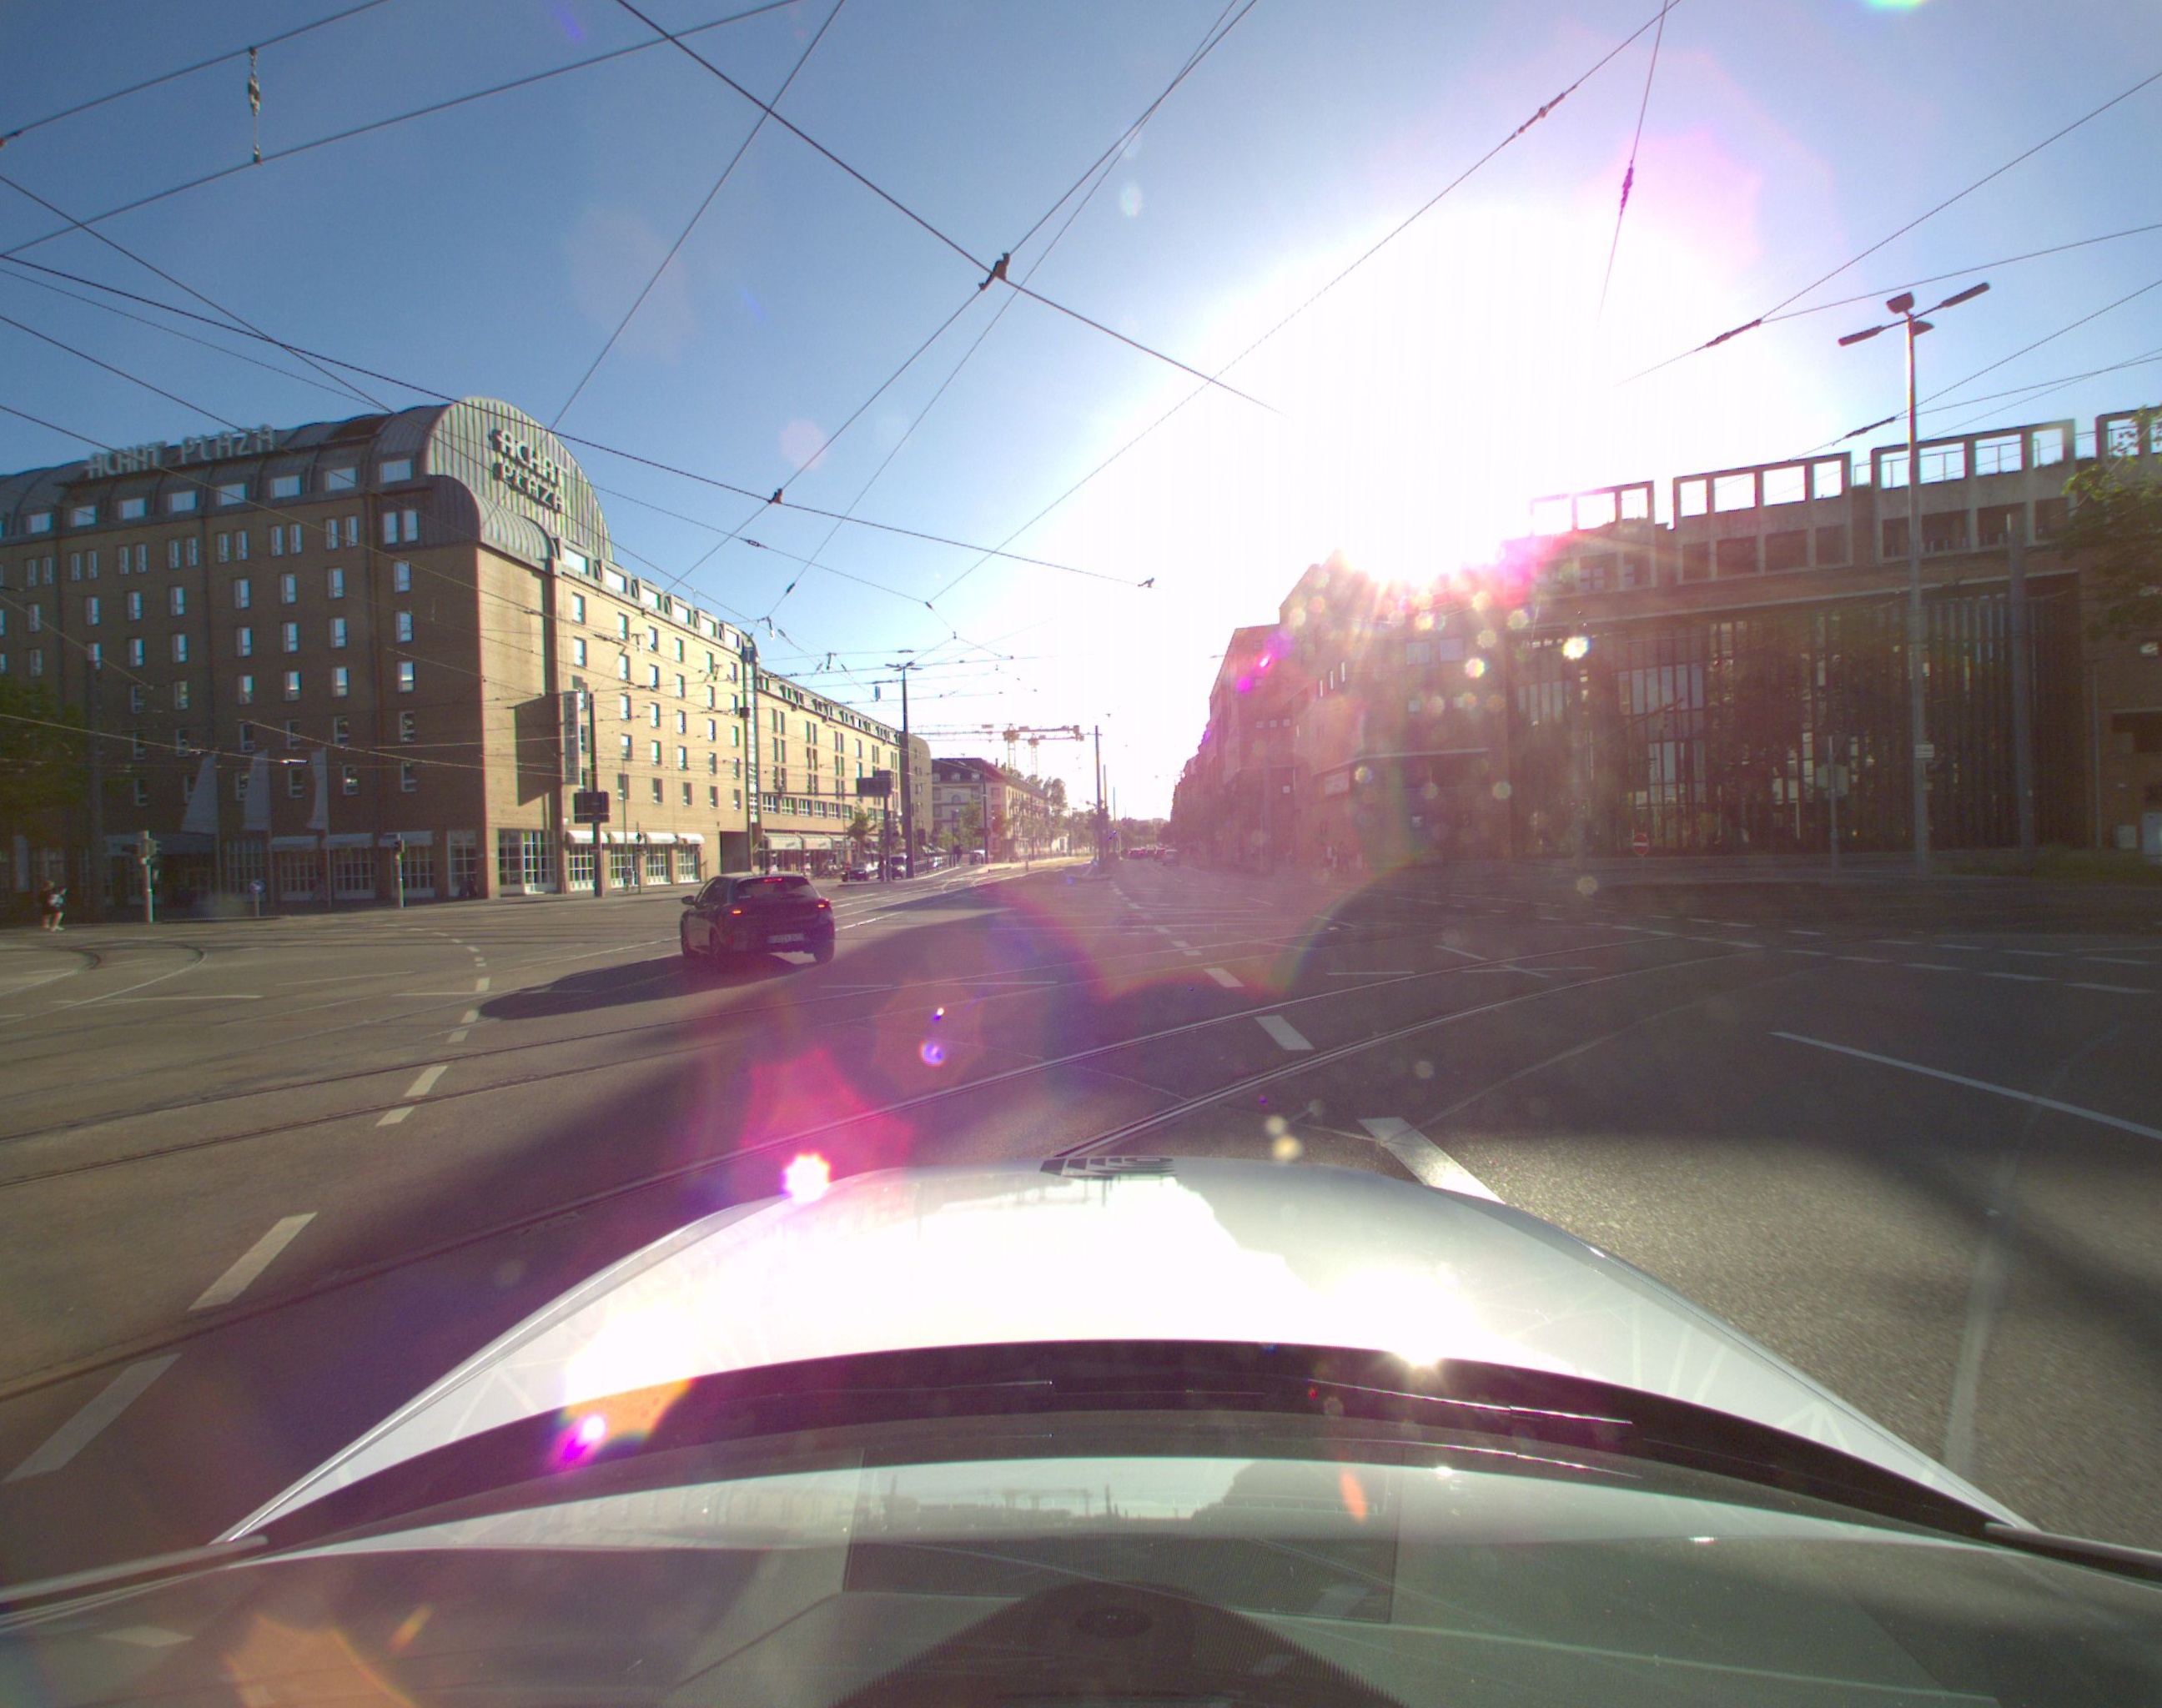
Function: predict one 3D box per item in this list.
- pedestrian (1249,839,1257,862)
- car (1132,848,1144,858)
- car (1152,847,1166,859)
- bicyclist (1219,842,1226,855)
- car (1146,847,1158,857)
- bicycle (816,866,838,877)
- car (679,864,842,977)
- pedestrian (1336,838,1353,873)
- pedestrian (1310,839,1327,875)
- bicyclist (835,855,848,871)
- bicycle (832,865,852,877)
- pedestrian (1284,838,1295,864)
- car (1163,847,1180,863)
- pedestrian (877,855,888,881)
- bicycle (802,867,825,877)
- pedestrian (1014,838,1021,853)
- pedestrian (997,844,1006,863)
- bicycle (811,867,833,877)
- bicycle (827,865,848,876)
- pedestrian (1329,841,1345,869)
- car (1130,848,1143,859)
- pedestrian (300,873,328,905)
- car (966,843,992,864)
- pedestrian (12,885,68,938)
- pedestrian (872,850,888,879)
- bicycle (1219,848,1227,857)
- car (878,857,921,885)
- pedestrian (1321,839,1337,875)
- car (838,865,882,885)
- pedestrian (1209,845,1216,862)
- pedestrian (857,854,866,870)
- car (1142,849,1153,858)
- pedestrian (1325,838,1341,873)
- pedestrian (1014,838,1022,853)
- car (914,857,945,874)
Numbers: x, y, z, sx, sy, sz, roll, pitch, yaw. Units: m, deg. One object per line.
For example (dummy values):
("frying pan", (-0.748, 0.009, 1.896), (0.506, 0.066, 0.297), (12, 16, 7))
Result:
("pedestrian", (14.267, -0.295, 67.501), (0.544, 1.785, 0.575), (-2, 3, 8))
("car", (8.730, -0.161, 124.091), (1.712, 1.453, 3.703), (-3, 0, 5))
("car", (9.868, -0.129, 102.474), (1.663, 1.453, 3.703), (-3, 0, 5))
("bicyclist", (14.899, -0.544, 85.780), (0.642, 1.339, 0.654), (-2, 0, 6))
("car", (11.360, -0.345, 130.047), (1.712, 1.453, 3.703), (-3, 0, 5))
("bicycle", (-24.332, 1.688, 78.047), (2.018, 0.920, 0.485), (-3, 0, 15))
("car", (-5.290, 0.939, 13.164), (1.684, 1.502, 3.652), (1, -1, -34))
("pedestrian", (13.674, 0.061, 42.291), (0.570, 1.786, 0.548), (-3, 0, -3))
("pedestrian", (12.088, 0.145, 41.444), (0.570, 1.786, 0.548), (-3, 0, -3))
("bicyclist", (-21.311, 0.828, 72.456), (0.806, 1.376, 0.927), (-3, 0, 4))
("bicycle", (-21.277, 1.496, 72.480), (0.806, 0.991, 2.512), (-3, 0, 4))
("pedestrian", (15.024, -0.223, 58.710), (0.636, 1.786, 0.690), (-3, 0, 8))
("car", (8.837, 0.061, 79.160), (1.552, 1.456, 3.438), (-2, 0, 6))
("pedestrian", (-12.552, 0.879, 51.541), (0.580, 1.577, 0.645), (-2, 0, -8))
("bicycle", (-24.731, 1.691, 75.188), (2.018, 0.845, 0.485), (-3, 0, 15))
("pedestrian", (-7.499, -1.001, 96.032), (0.859, 1.670, 0.783), (-2, 1, -5))
("pedestrian", (-8.498, -0.058, 87.076), (0.859, 1.886, 0.736), (-2, 1, -5))
("bicycle", (-24.401, 1.673, 76.693), (2.018, 0.845, 0.485), (-3, 0, 15))
("bicycle", (-23.647, 1.614, 79.133), (2.018, 0.920, 0.485), (-3, 0, 15))
("pedestrian", (13.698, 0.039, 43.610), (0.548, 1.477, 0.571), (-2, 1, -13))
("car", (7.786, -0.127, 113.786), (1.712, 1.453, 3.703), (-3, 0, 5))
("pedestrian", (-41.495, 1.911, 44.076), (0.747, 1.665, 0.743), (-2, 1, 7))
("car", (-15.798, -0.082, 126.482), (2.367, 2.998, 8.477), (-2, 1, 3))
("pedestrian", (-35.221, 1.946, 27.560), (0.710, 1.680, 0.833), (-3, 2, 7))
("pedestrian", (-12.157, 0.650, 49.300), (0.717, 1.727, 0.595), (-2, 0, 6))
("bicycle", (14.898, -0.142, 85.643), (0.645, 0.904, 2.350), (-2, 0, 7))
("car", (-13.254, 1.206, 59.653), (1.831, 1.836, 4.111), (-4, 0, 3))
("pedestrian", (12.723, 0.165, 41.733), (0.570, 1.786, 0.548), (-3, 0, -3))
("car", (-16.416, 1.534, 60.748), (1.831, 1.268, 4.234), (-4, 0, 3))
("pedestrian", (14.752, -0.048, 91.496), (0.637, 1.786, 0.690), (-3, 0, 6))
("pedestrian", (-24.892, 0.878, 92.323), (0.712, 1.764, 0.567), (-3, 0, 8))
("car", (11.500, -0.159, 140.172), (1.712, 1.453, 3.703), (-3, 0, 5))
("pedestrian", (13.164, 0.072, 42.552), (0.570, 1.786, 0.548), (-3, 0, -3))
("pedestrian", (-7.398, -0.994, 95.259), (0.859, 1.670, 0.736), (-2, 1, -5))
("car", (-14.588, 1.048, 78.588), (1.831, 1.448, 4.303), (-4, 0, 4))
